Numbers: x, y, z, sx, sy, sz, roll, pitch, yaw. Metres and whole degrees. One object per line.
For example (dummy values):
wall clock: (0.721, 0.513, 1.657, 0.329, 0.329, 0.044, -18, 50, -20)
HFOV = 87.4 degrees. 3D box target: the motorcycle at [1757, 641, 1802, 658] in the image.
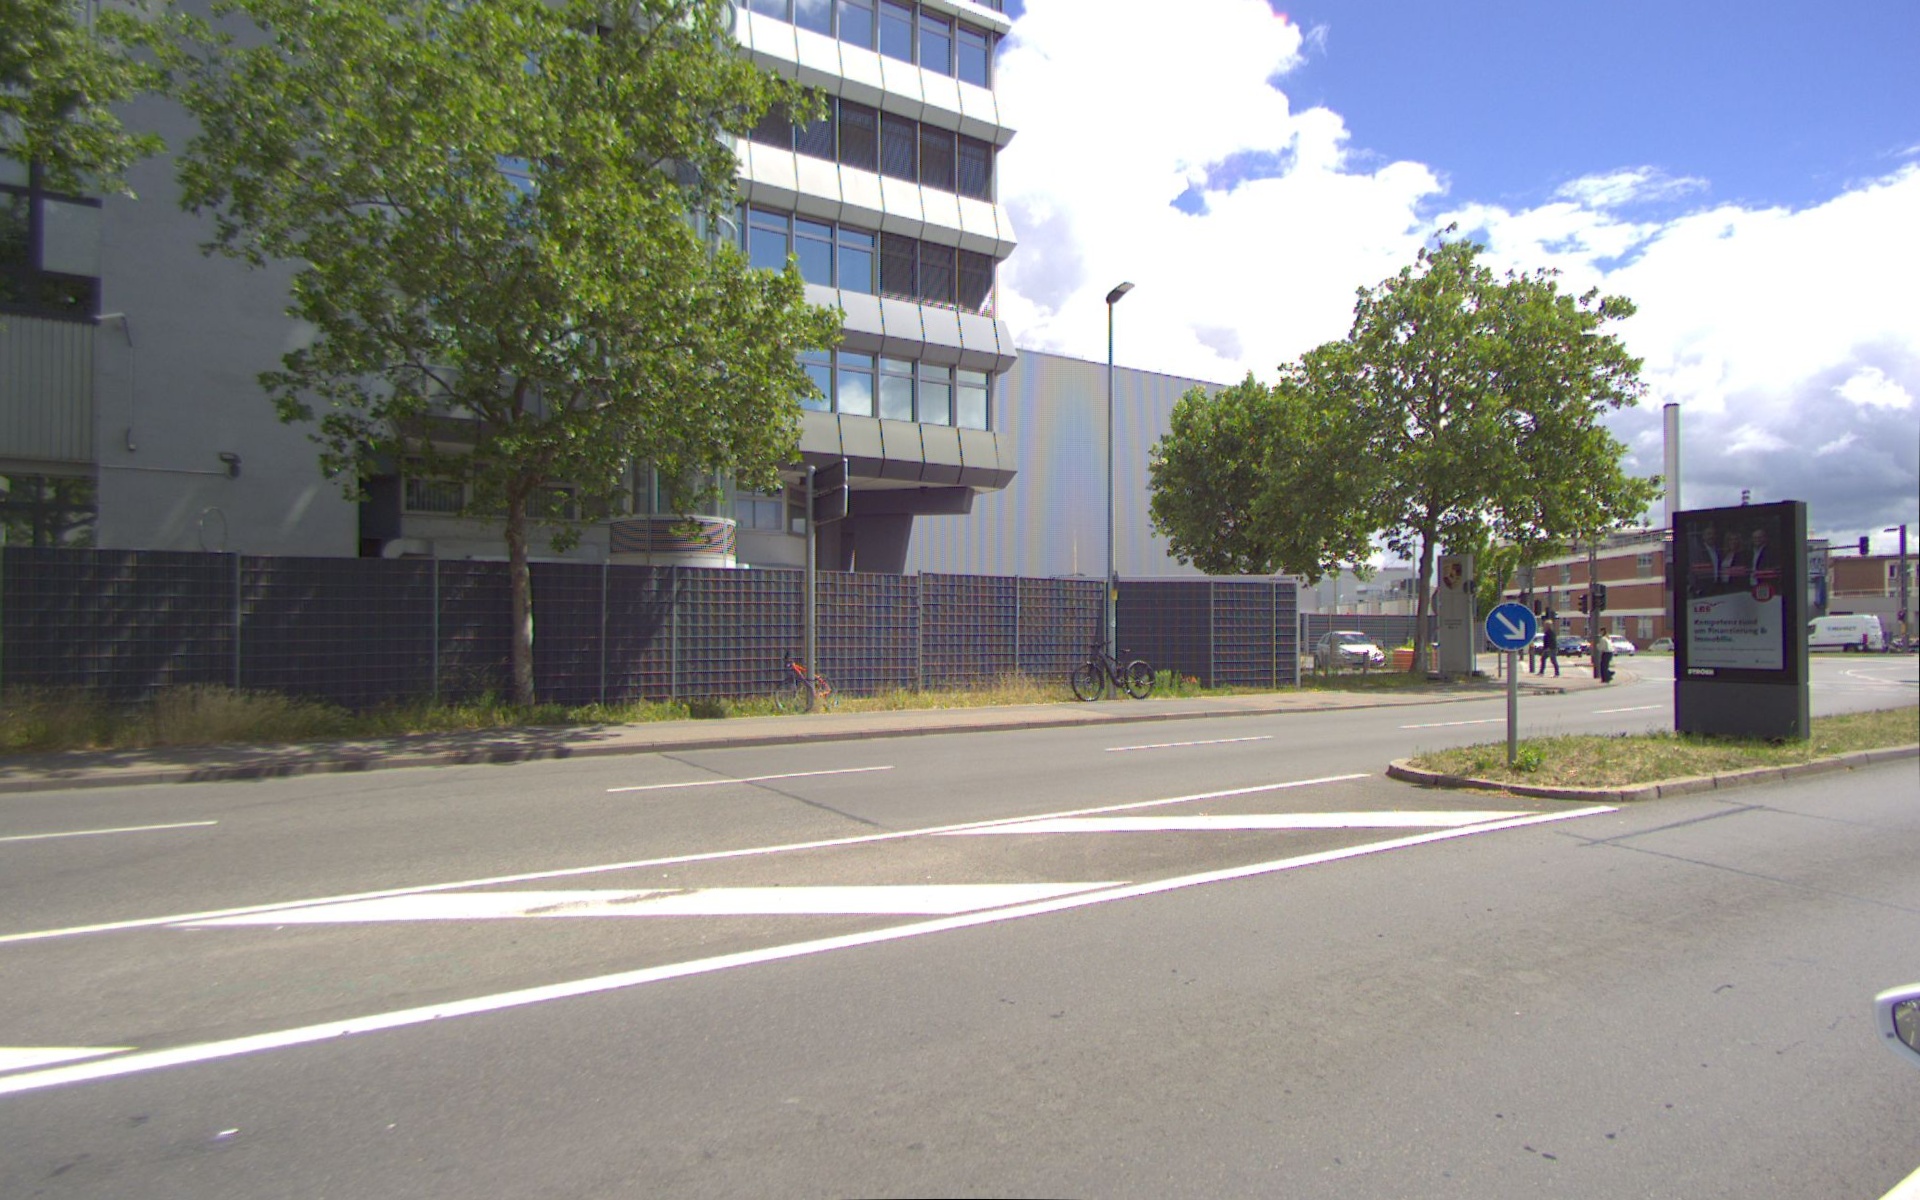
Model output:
motorcycle: (66.440, 4.013, 81.501, 0.904, 1.211, 2.906, 2, -1, -12)

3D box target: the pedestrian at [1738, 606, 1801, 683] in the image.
pedestrian: (22.525, 1.216, 27.957, 0.934, 2.082, 0.953, 2, -1, -12)

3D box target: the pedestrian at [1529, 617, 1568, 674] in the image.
pedestrian: (19.104, 1.479, 32.600, 1.029, 1.797, 0.854, 2, -1, -45)

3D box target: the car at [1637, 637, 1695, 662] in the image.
car: (50.312, 3.479, 71.657, 1.959, 1.598, 4.003, 2, -1, 12)

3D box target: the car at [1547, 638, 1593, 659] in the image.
car: (49.196, 3.886, 81.087, 1.788, 1.577, 4.227, 2, -1, 12)

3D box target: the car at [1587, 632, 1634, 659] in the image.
car: (47.100, 3.284, 72.790, 1.874, 1.820, 3.777, 2, -1, 17)

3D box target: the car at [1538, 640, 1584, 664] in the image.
car: (43.249, 3.706, 72.396, 1.767, 1.577, 3.960, 2, -1, 15)

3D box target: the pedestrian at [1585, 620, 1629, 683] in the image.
pedestrian: (19.072, 1.497, 29.602, 1.029, 1.797, 0.854, 2, -1, -45)

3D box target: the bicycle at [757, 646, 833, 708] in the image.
bicycle: (-2.818, 1.321, 17.180, 1.233, 1.019, 0.296, 2, -1, -21)

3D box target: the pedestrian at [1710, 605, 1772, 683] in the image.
pedestrian: (21.542, 1.209, 27.707, 0.934, 2.082, 0.953, 2, -1, -12)

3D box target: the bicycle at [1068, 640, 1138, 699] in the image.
bicycle: (2.868, 1.382, 20.052, 1.466, 1.146, 0.295, 2, -1, -29)

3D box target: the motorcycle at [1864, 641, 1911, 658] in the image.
motorcycle: (75.624, 4.047, 81.942, 0.903, 1.211, 2.909, 2, -1, -8)

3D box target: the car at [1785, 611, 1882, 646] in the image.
car: (59.560, 1.903, 68.609, 1.971, 2.199, 4.632, 2, -1, -21)

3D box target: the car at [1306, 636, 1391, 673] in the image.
car: (15.623, 2.173, 40.651, 1.688, 1.377, 3.999, 0, -2, -3)
